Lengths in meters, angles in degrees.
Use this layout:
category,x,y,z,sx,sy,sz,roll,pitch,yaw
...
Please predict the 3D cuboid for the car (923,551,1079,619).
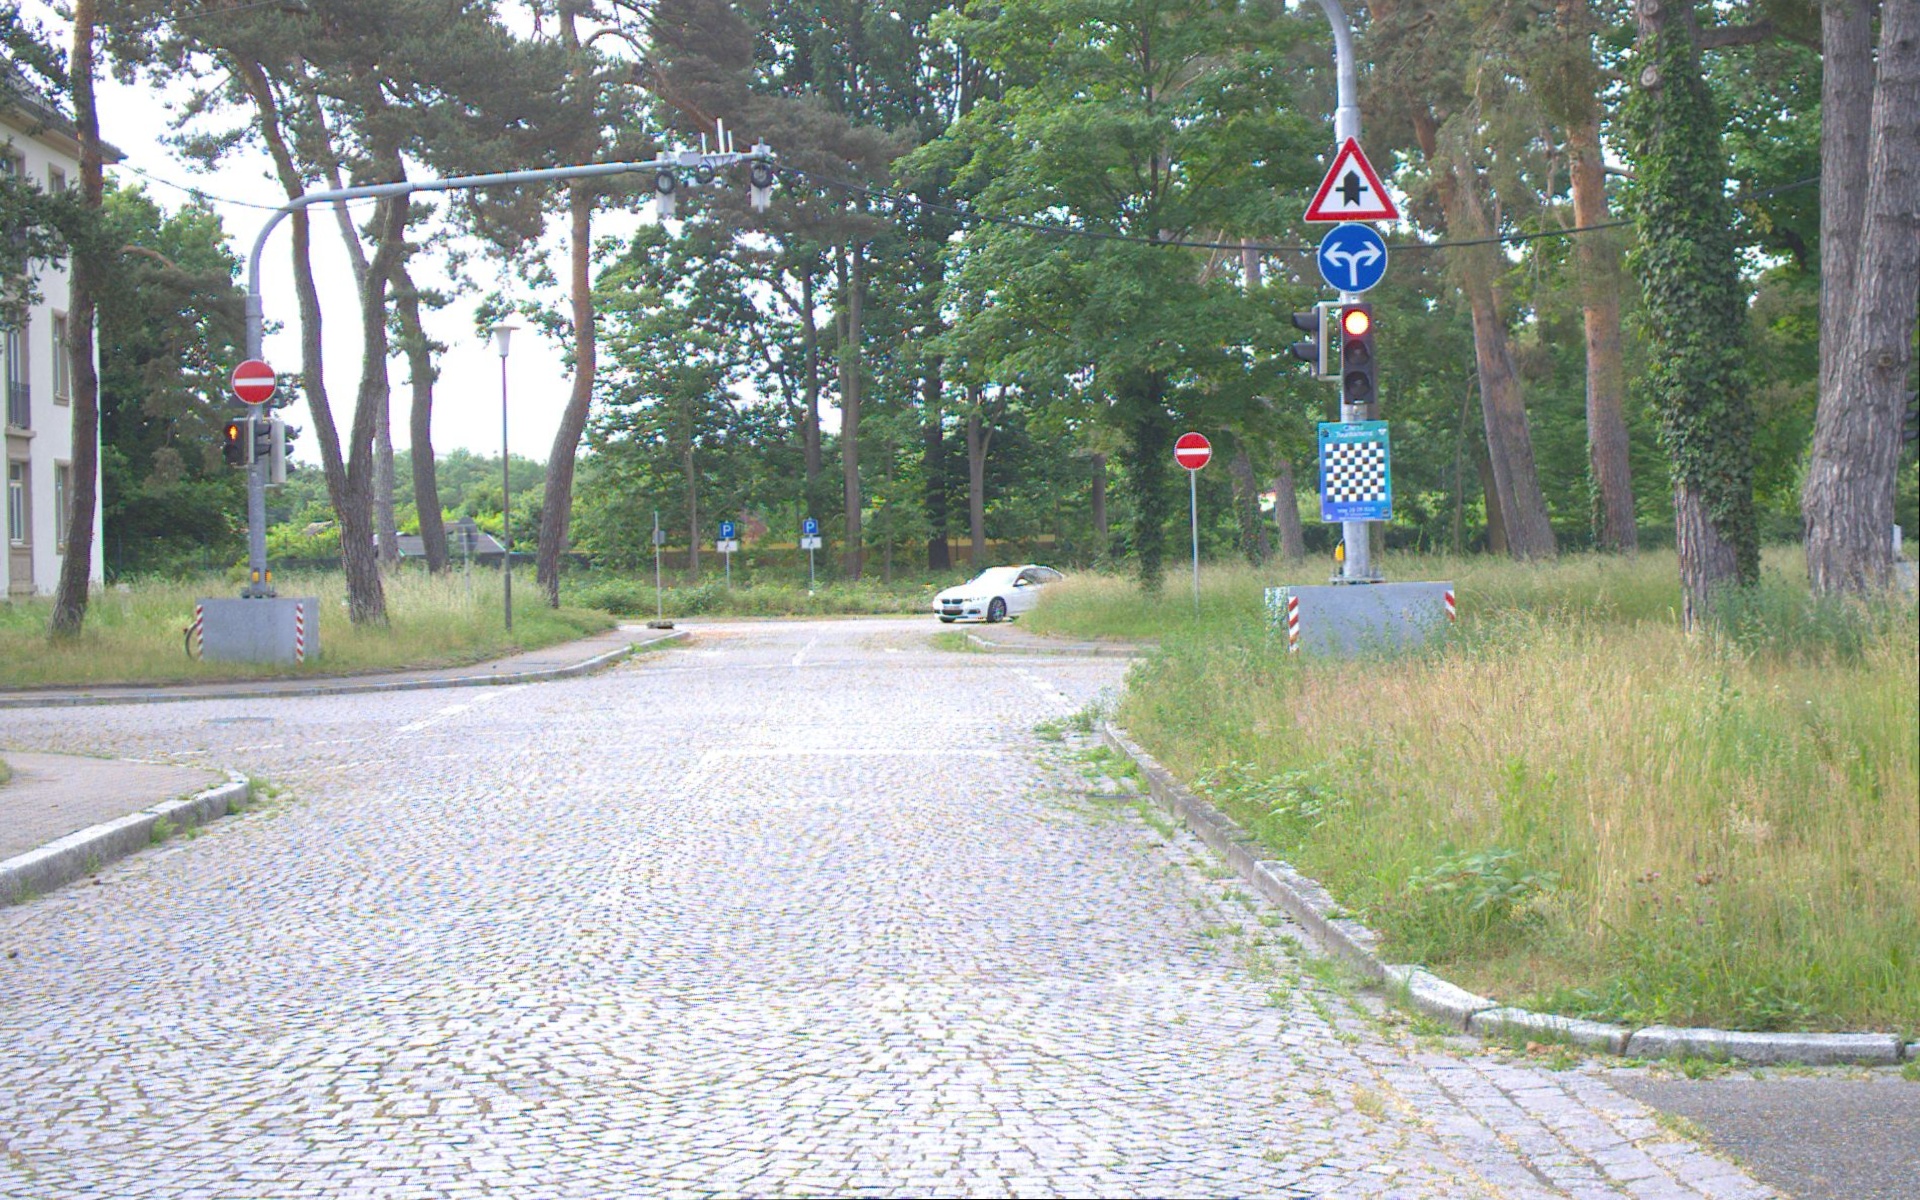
category,x,y,z,sx,sy,sz,roll,pitch,yaw
car,1.087,-0.396,88.521,1.777,1.433,4.210,-3,1,37
